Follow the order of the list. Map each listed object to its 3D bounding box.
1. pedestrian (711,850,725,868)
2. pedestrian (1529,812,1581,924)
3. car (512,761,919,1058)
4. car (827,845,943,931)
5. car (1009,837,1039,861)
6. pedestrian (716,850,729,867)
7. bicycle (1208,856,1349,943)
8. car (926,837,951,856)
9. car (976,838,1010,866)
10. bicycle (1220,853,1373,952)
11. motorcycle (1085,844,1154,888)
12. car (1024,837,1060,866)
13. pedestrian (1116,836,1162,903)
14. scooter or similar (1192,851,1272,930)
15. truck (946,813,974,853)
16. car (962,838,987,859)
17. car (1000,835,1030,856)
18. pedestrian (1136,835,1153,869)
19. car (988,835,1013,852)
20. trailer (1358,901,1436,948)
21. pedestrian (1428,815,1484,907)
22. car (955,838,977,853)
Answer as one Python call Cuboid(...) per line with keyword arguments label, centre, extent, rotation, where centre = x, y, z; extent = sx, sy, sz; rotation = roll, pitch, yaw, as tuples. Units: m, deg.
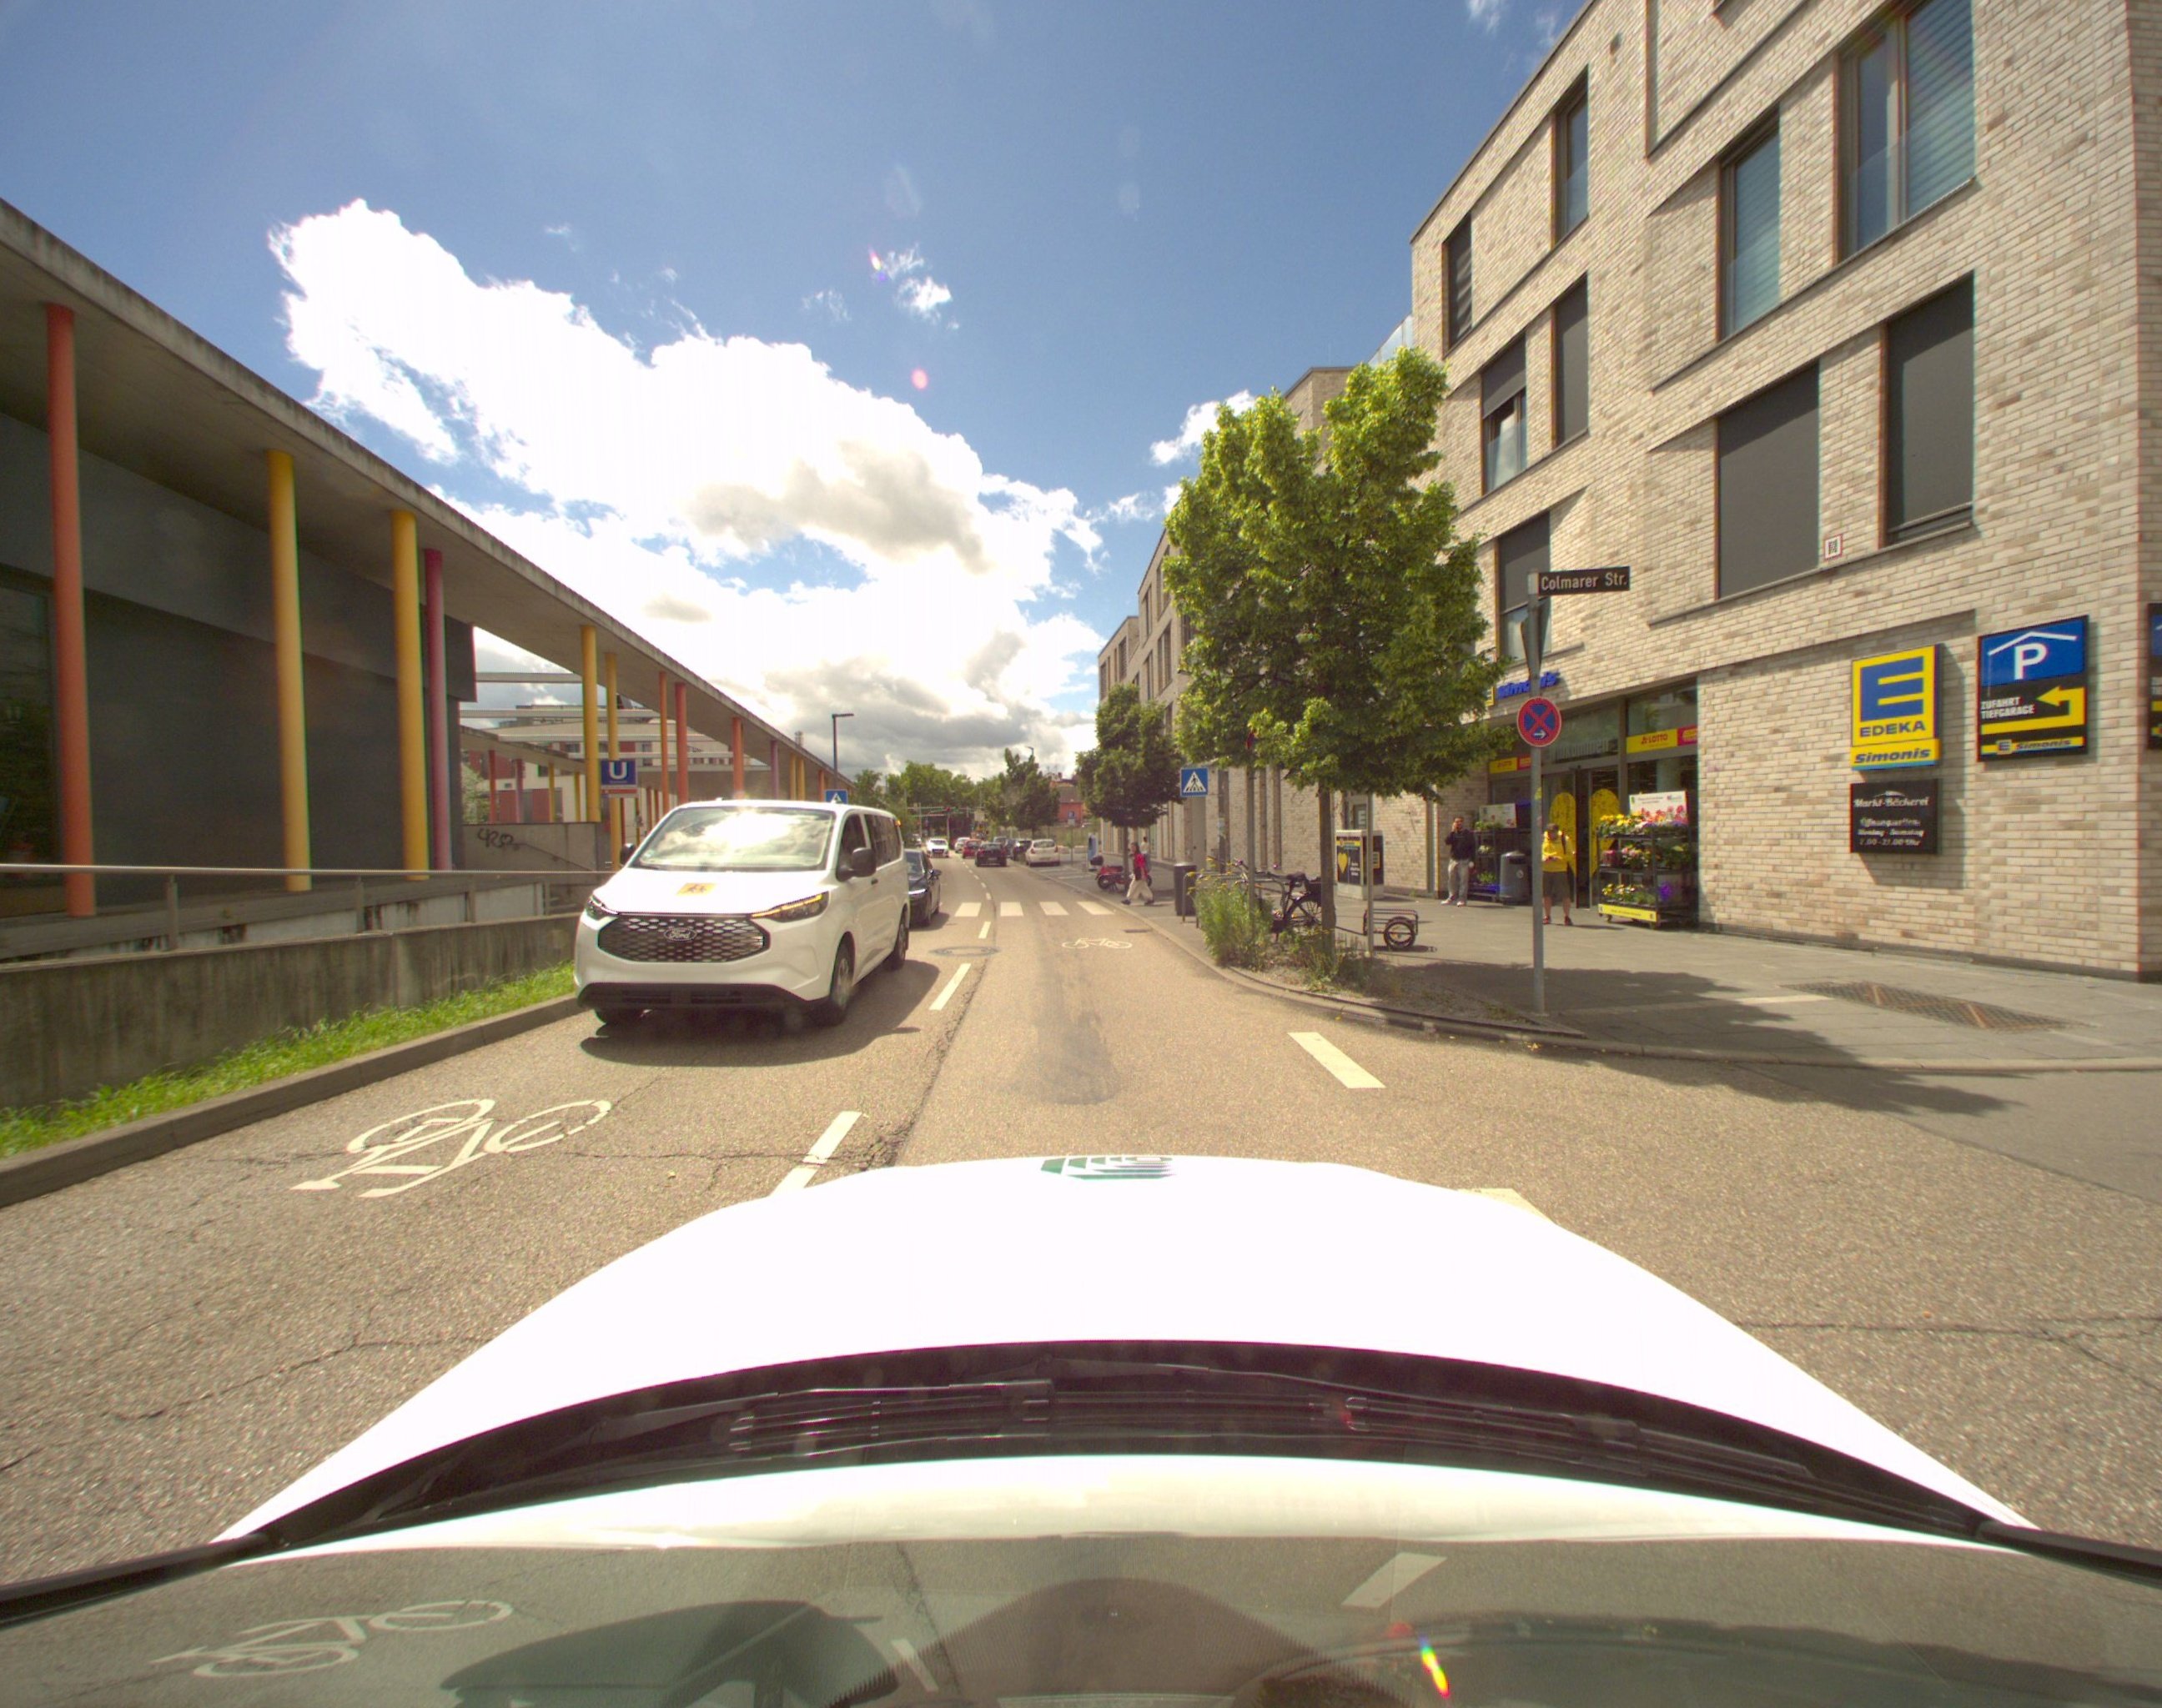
Cuboid(label="pedestrian", centre=(-29.212, 0.379, 65.573), extent=(0.822, 1.379, 0.700), rotation=(0, 2, -9))
Cuboid(label="pedestrian", centre=(7.405, 0.206, 12.731), extent=(0.651, 1.692, 0.636), rotation=(-1, 1, 31))
Cuboid(label="car", centre=(-3.028, 0.353, 8.283), extent=(1.989, 2.013, 5.387), rotation=(1, 1, -4))
Cuboid(label="car", centre=(-3.780, 0.573, 16.333), extent=(1.770, 1.464, 4.224), rotation=(0, 1, -7))
Cuboid(label="car", centre=(-3.886, -0.389, 55.374), extent=(1.692, 1.461, 4.135), rotation=(-3, 2, -8))
Cuboid(label="pedestrian", centre=(-29.298, 0.380, 66.590), extent=(0.822, 1.379, 0.700), rotation=(0, 2, -9))
Cuboid(label="bicycle", centre=(2.846, 0.639, 11.828), extent=(1.818, 1.131, 0.755), rotation=(-2, 0, -3))
Cuboid(label="car", centre=(-11.122, -0.600, 63.580), extent=(1.811, 1.469, 3.896), rotation=(0, 1, -9))
Cuboid(label="car", centre=(-5.165, -0.136, 47.431), extent=(1.726, 1.456, 3.798), rotation=(-2, 2, -9))
Cuboid(label="bicycle", centre=(2.882, 0.630, 11.009), extent=(1.818, 1.201, 0.755), rotation=(-2, 0, -3))
Cuboid(label="motorcycle", centre=(1.220, 0.381, 25.640), extent=(2.039, 1.266, 0.674), rotation=(-3, 0, 8))
Cuboid(label="car", centre=(-2.242, -0.182, 46.194), extent=(1.691, 1.483, 3.788), rotation=(-3, 2, -8))
Cuboid(label="pedestrian", centre=(1.380, 0.371, 19.615), extent=(0.928, 1.565, 0.812), rotation=(0, -1, -12))
Cuboid(label="scooter or similar", centre=(2.530, 0.607, 13.702), extent=(1.193, 1.249, 0.493), rotation=(-2, 0, -3))
Cuboid(label="truck", centre=(-14.496, -2.410, 97.175), extent=(3.203, 4.535, 8.999), rotation=(0, 0, -9))
Cuboid(label="car", centre=(-8.185, -0.447, 62.205), extent=(1.711, 1.393, 3.797), rotation=(-2, 2, -9))
Cuboid(label="car", centre=(-5.039, -0.658, 61.966), extent=(1.865, 1.451, 4.629), rotation=(-3, 2, -9))
Cuboid(label="pedestrian", centre=(2.830, -0.090, 36.159), extent=(0.605, 1.472, 0.790), rotation=(-2, 2, -2))
Cuboid(label="car", centre=(-7.569, -0.995, 76.209), extent=(1.783, 1.451, 4.459), rotation=(-3, 2, -11))
Cuboid(label="trailer", centre=(4.174, 0.926, 10.805), extent=(0.717, 0.528, 0.811), rotation=(-1, 0, 0))
Cuboid(label="pedestrian", centre=(7.415, 0.119, 16.101), extent=(1.024, 1.741, 0.651), rotation=(-2, 1, -44))
Cuboid(label="car", centre=(-11.530, -0.856, 81.249), extent=(1.889, 1.465, 4.053), rotation=(-2, 1, -11))
